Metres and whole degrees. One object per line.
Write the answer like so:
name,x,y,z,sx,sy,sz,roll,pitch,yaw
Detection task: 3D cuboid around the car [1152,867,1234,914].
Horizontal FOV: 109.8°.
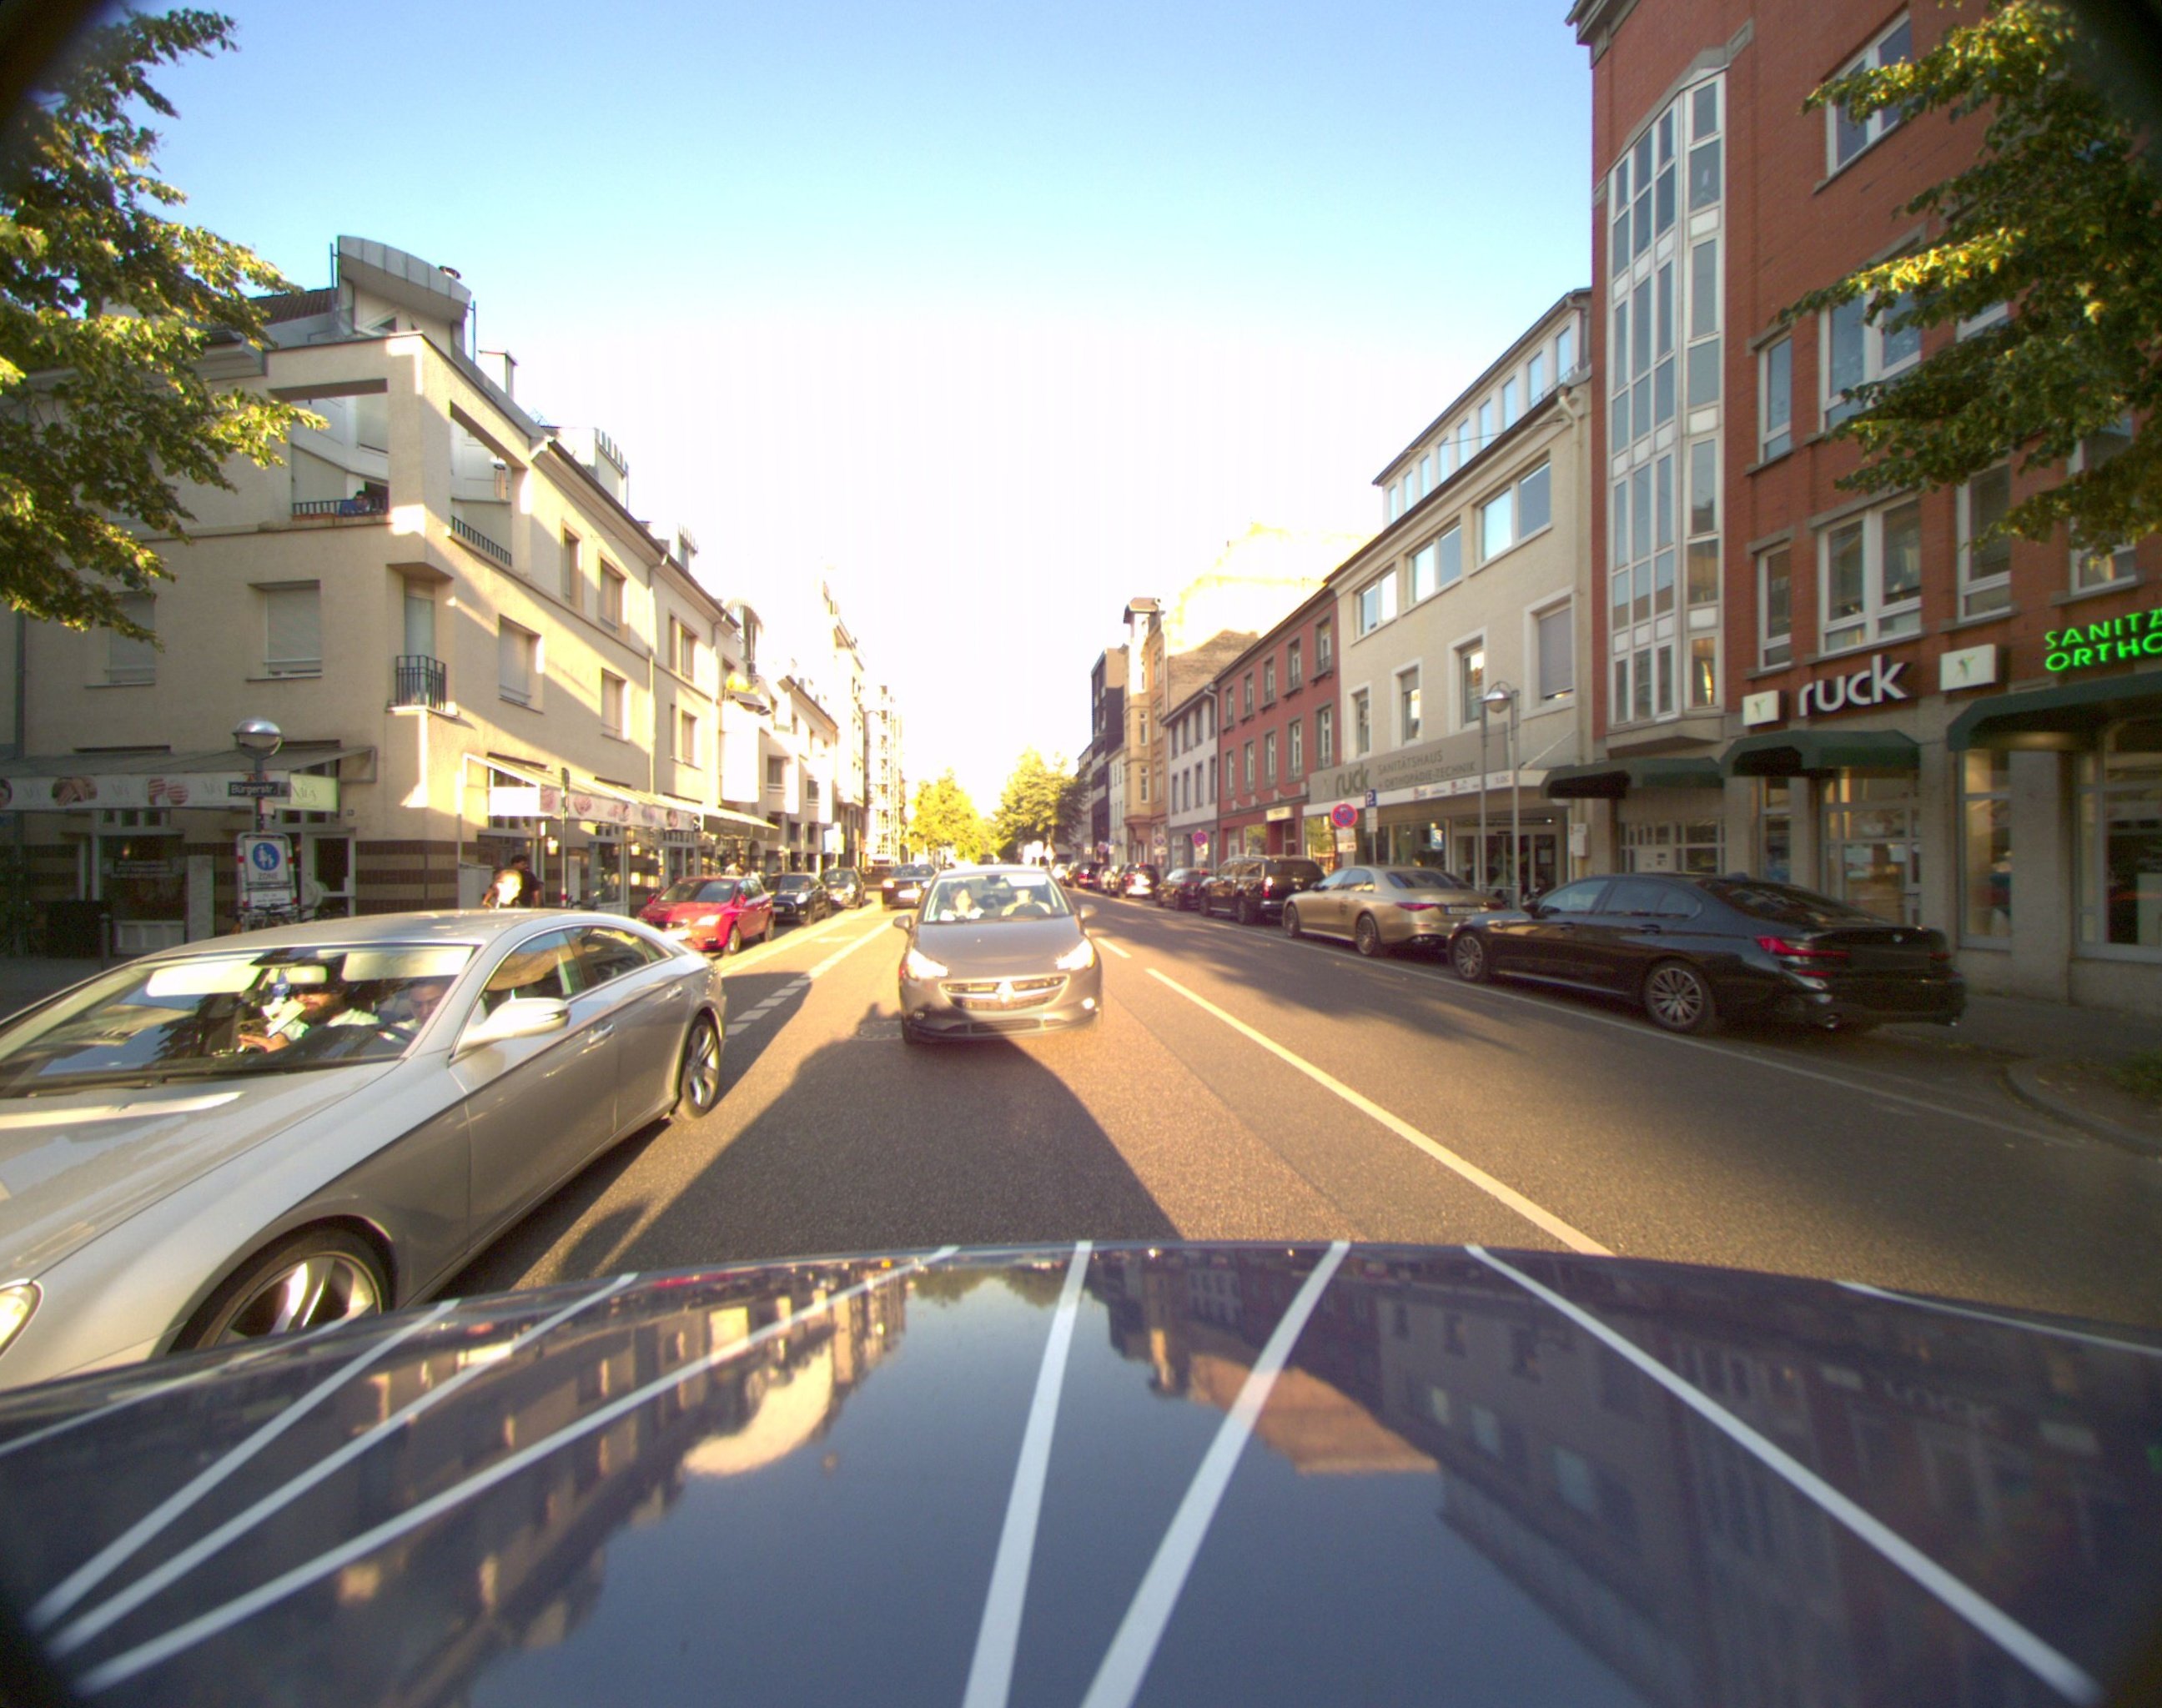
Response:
car,3.810,1.204,26.495,1.707,1.429,4.011,2,-1,-8

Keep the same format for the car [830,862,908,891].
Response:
car,-12.884,1.344,46.386,4.293,1.665,1.735,0,0,-3

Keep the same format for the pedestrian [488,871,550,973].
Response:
pedestrian,-9.937,1.185,13.445,0.631,1.739,0.669,0,0,-8

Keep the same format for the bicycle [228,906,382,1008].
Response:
bicycle,-10.277,1.314,10.154,0.322,1.098,1.878,-1,0,-7

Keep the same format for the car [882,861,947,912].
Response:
car,-5.928,1.118,27.522,1.891,1.626,4.224,-2,0,-8

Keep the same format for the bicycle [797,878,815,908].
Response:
bicycle,-10.642,1.506,29.420,0.296,1.079,1.462,-1,0,-7

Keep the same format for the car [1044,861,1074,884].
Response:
car,-1.623,1.318,54.842,1.674,1.512,3.562,1,0,-8

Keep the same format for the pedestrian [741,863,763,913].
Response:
pedestrian,-10.773,1.112,24.880,0.521,1.583,0.408,2,0,-8

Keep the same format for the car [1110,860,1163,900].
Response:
car,2.497,1.154,35.112,1.726,1.673,4.047,2,-1,-6

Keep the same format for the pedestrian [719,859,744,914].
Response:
pedestrian,-11.346,1.059,24.682,0.545,1.748,0.502,2,0,-8

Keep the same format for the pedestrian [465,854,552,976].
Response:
pedestrian,-9.262,0.960,12.326,0.779,1.872,0.669,-4,1,-8

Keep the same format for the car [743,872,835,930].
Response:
car,-8.210,1.276,21.714,1.622,1.425,3.923,0,0,-8

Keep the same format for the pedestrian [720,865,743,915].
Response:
pedestrian,-12.752,1.303,27.757,0.576,1.789,0.450,-2,1,-7

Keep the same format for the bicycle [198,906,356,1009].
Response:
bicycle,-10.591,1.313,10.105,0.291,1.098,1.886,-1,0,-7

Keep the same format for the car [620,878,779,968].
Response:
car,-7.201,1.223,14.760,1.594,1.425,3.923,0,0,-8

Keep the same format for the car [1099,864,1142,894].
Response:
car,2.039,1.290,40.111,1.690,1.461,3.689,2,-1,-6

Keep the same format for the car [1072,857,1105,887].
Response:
car,0.447,1.126,47.888,1.674,1.763,3.563,2,-1,-6

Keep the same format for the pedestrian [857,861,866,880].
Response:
pedestrian,-15.371,1.159,53.214,0.492,1.256,0.421,-2,1,-10

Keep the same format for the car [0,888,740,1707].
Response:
car,-3.066,1.031,3.143,1.748,1.393,4.634,-1,2,-8

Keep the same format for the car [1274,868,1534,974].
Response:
car,5.333,1.025,13.507,2.000,1.463,5.104,1,-1,-6

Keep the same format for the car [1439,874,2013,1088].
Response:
car,5.879,1.007,7.876,1.726,1.464,4.538,2,-1,-7

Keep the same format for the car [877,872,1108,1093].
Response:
car,-0.879,0.967,7.378,1.623,1.465,3.686,-2,0,-8

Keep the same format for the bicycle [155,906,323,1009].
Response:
bicycle,-11.049,1.307,10.062,0.322,1.098,1.878,-1,0,-7

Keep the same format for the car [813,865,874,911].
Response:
car,-9.067,1.243,29.295,1.622,1.583,3.923,-1,0,-8

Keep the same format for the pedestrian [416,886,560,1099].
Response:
pedestrian,-5.137,1.133,6.599,0.795,1.666,0.704,2,1,28

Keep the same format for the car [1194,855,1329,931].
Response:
car,4.637,0.954,20.362,1.726,1.768,4.935,1,-1,-9

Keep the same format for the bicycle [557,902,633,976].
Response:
bicycle,-8.052,1.378,12.653,0.315,1.040,1.664,0,0,-5

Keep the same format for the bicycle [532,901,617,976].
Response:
bicycle,-8.420,1.372,12.708,0.315,1.040,1.881,0,0,-5

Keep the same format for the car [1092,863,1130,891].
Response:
car,1.704,1.306,44.075,1.674,1.448,3.563,2,-1,-6
